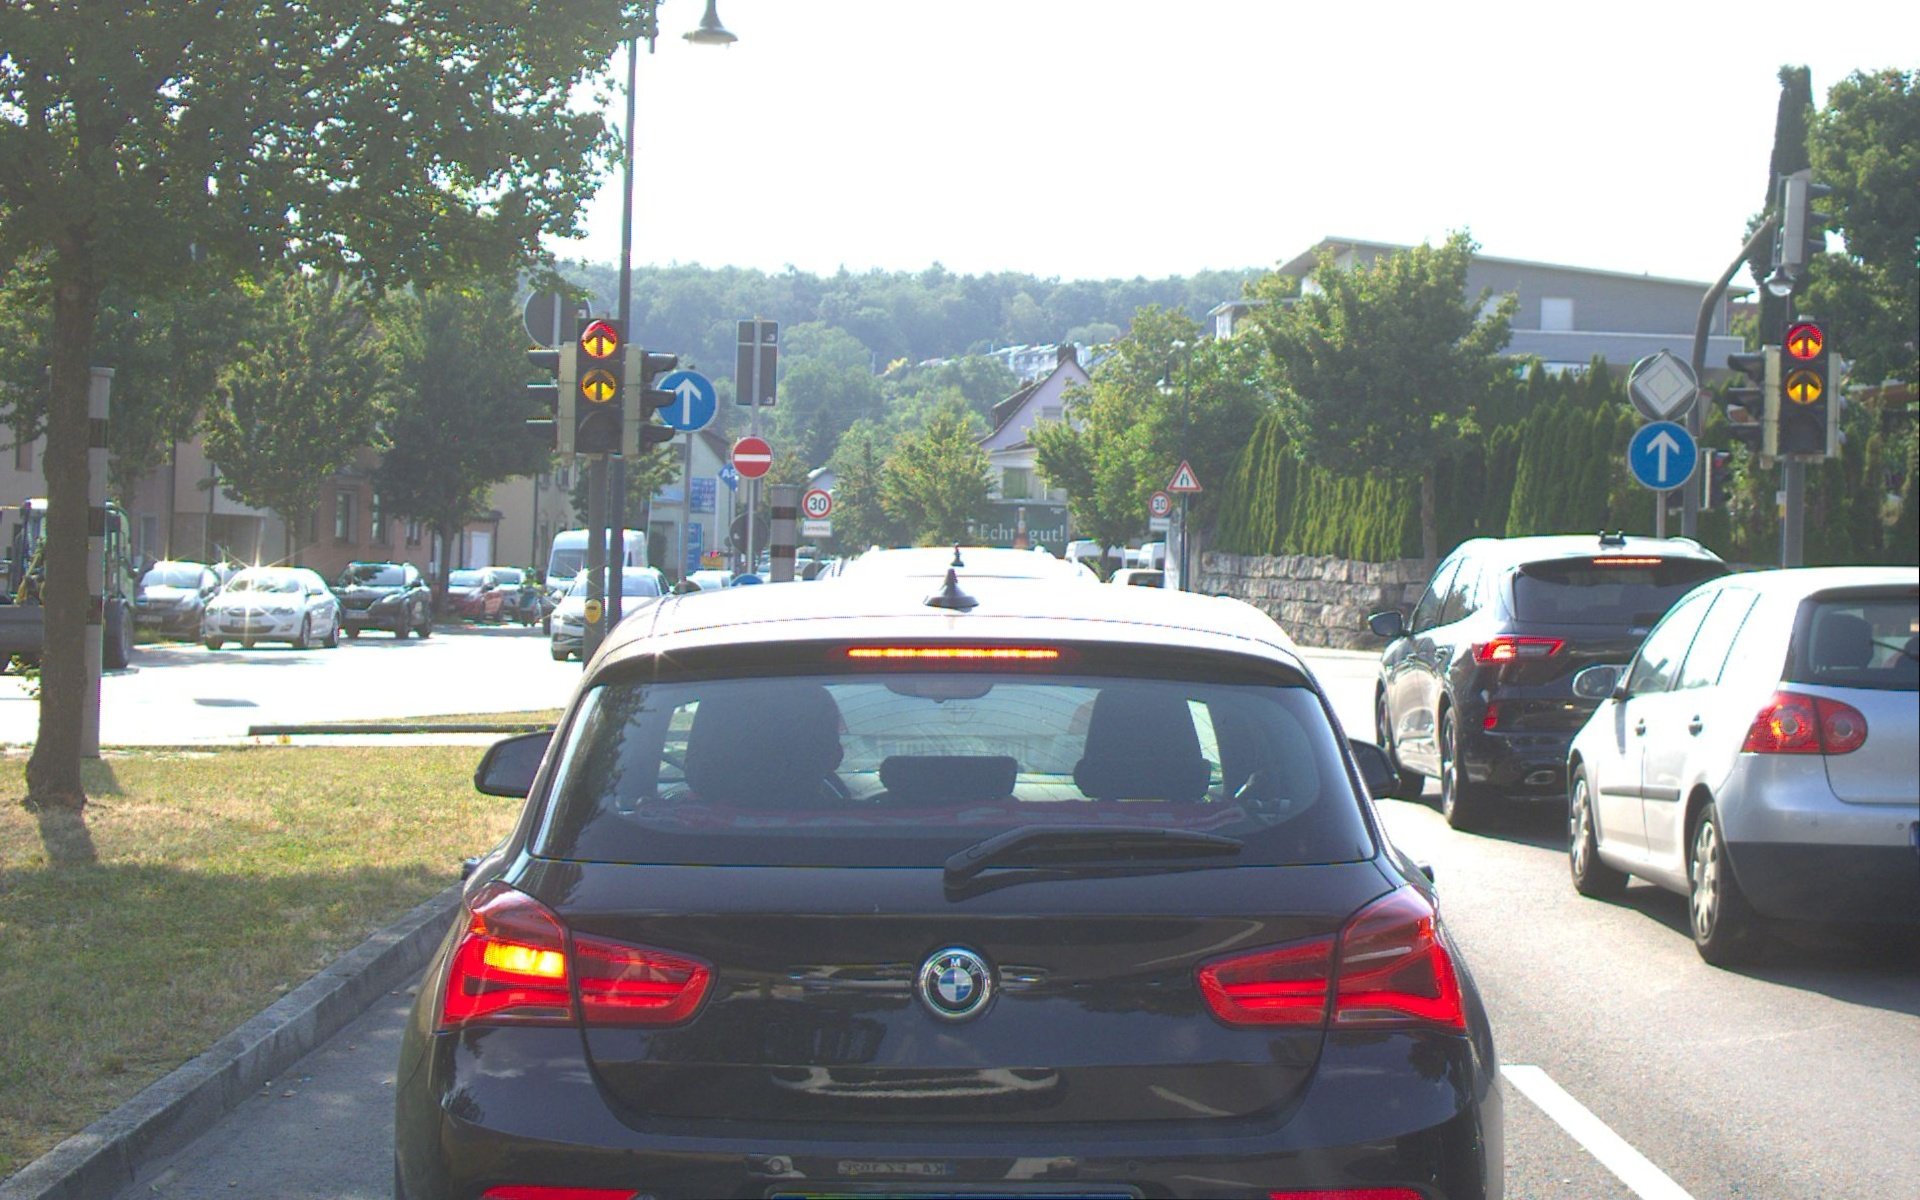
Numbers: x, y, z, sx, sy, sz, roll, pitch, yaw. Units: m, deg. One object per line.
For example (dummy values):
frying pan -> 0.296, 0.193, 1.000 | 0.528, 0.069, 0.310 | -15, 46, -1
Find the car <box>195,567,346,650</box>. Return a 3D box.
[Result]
car -> -12.460, 0.128, 62.319 | 1.737, 1.296, 3.799 | 5, 1, 2

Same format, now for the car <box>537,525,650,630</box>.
car -> -8.705, -0.548, 82.095 | 2.084, 2.385, 5.529 | 1, 1, 0

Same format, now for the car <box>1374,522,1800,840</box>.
car -> 3.533, 0.393, 20.046 | 1.761, 1.650, 3.903 | -1, 1, 0

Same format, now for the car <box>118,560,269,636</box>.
car -> -14.935, -0.065, 67.174 | 1.737, 1.296, 4.000 | 5, 1, 3

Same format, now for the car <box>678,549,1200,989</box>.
car -> -0.069, 0.554, 14.026 | 1.788, 1.488, 4.281 | -1, 1, 0

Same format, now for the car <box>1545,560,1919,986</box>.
car -> 3.560, 0.572, 13.764 | 1.761, 1.421, 3.903 | -1, 1, 0

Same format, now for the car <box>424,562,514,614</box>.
car -> -13.856, -0.350, 97.187 | 1.737, 1.296, 3.799 | 5, 1, 2

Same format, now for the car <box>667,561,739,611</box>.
car -> -7.982, -0.452, 106.988 | 1.839, 1.477, 4.000 | 1, 1, 1

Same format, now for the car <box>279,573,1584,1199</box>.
car -> -0.033, 0.674, 6.881 | 1.788, 1.393, 4.281 | -1, 1, 0

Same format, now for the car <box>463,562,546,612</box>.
car -> -13.598, -0.407, 102.885 | 1.737, 1.296, 3.799 | 5, 1, 2

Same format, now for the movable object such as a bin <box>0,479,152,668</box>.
movable object such as a bin -> -12.339, -0.376, 46.534 | 1.736, 2.433, 4.450 | 0, 1, 0

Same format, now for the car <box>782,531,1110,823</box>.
car -> -0.076, 0.389, 21.066 | 1.788, 1.588, 4.281 | -1, 1, 0

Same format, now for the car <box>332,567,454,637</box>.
car -> -12.079, 0.025, 73.396 | 1.737, 1.296, 3.799 | 5, 1, 2

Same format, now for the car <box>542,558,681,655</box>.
car -> -5.591, 0.071, 55.536 | 1.839, 1.477, 4.000 | 1, 1, 0
